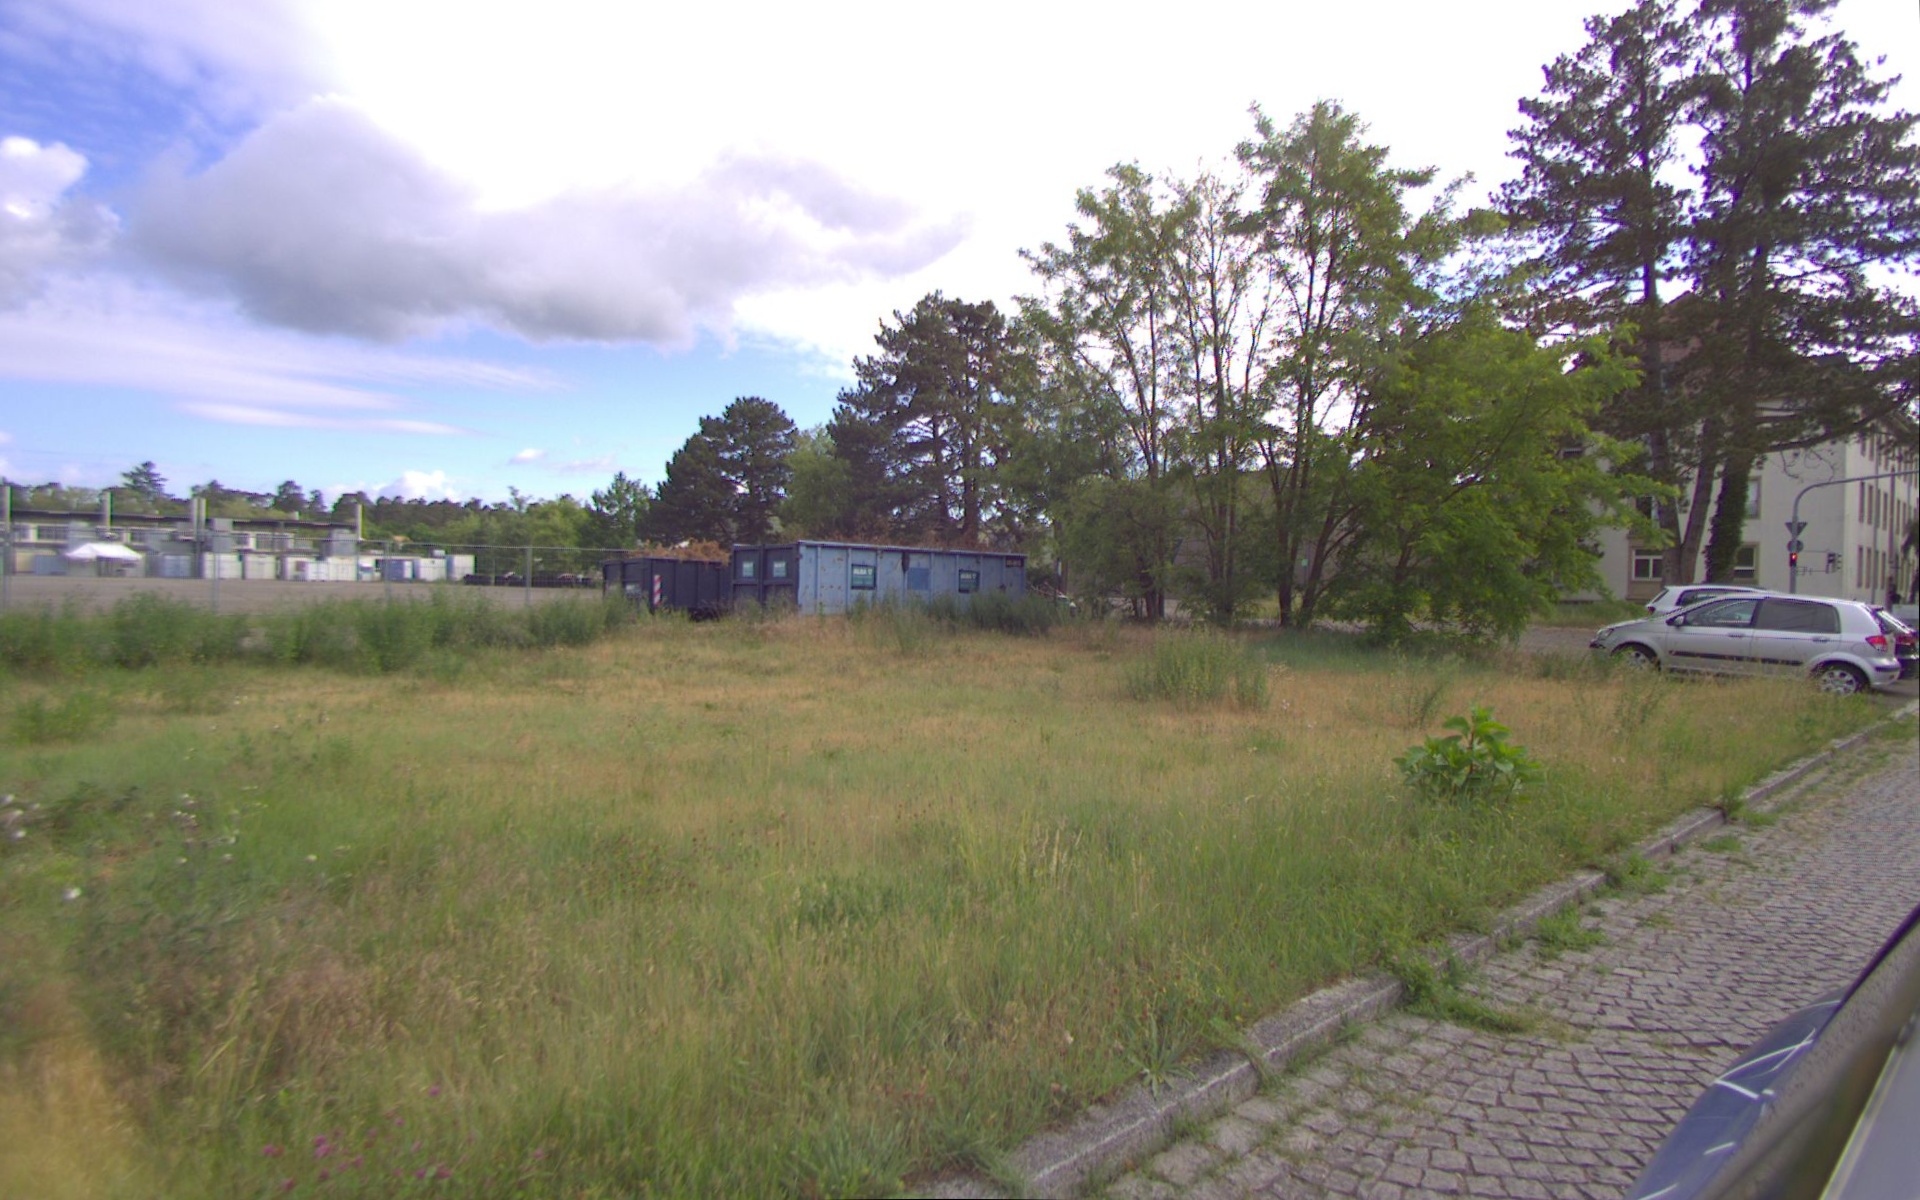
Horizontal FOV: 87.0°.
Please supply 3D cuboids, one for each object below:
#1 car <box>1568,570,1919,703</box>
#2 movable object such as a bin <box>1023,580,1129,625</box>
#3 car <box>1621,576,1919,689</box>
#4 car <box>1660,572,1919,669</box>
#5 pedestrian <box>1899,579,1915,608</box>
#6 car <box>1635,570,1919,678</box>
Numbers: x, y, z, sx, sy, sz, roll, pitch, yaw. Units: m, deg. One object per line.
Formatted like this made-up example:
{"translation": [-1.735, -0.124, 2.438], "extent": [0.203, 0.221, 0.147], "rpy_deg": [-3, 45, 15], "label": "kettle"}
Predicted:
{"translation": [11.944, 0.440, 15.529], "extent": [1.774, 1.533, 4.081], "rpy_deg": [0, 4, -43], "label": "car"}
{"translation": [2.813, 0.035, 24.869], "extent": [0.839, 1.000, 2.685], "rpy_deg": [0, 1, -43], "label": "movable object such as a bin"}
{"translation": [13.949, 0.466, 17.279], "extent": [1.853, 1.470, 4.081], "rpy_deg": [0, 4, -43], "label": "car"}
{"translation": [17.525, 0.357, 21.071], "extent": [1.873, 1.584, 4.501], "rpy_deg": [0, 4, -43], "label": "car"}
{"translation": [57.227, -0.418, 61.148], "extent": [0.522, 1.722, 0.569], "rpy_deg": [0, 1, -37], "label": "pedestrian"}
{"translation": [15.679, 0.365, 19.370], "extent": [1.854, 1.615, 4.246], "rpy_deg": [0, 4, -44], "label": "car"}
